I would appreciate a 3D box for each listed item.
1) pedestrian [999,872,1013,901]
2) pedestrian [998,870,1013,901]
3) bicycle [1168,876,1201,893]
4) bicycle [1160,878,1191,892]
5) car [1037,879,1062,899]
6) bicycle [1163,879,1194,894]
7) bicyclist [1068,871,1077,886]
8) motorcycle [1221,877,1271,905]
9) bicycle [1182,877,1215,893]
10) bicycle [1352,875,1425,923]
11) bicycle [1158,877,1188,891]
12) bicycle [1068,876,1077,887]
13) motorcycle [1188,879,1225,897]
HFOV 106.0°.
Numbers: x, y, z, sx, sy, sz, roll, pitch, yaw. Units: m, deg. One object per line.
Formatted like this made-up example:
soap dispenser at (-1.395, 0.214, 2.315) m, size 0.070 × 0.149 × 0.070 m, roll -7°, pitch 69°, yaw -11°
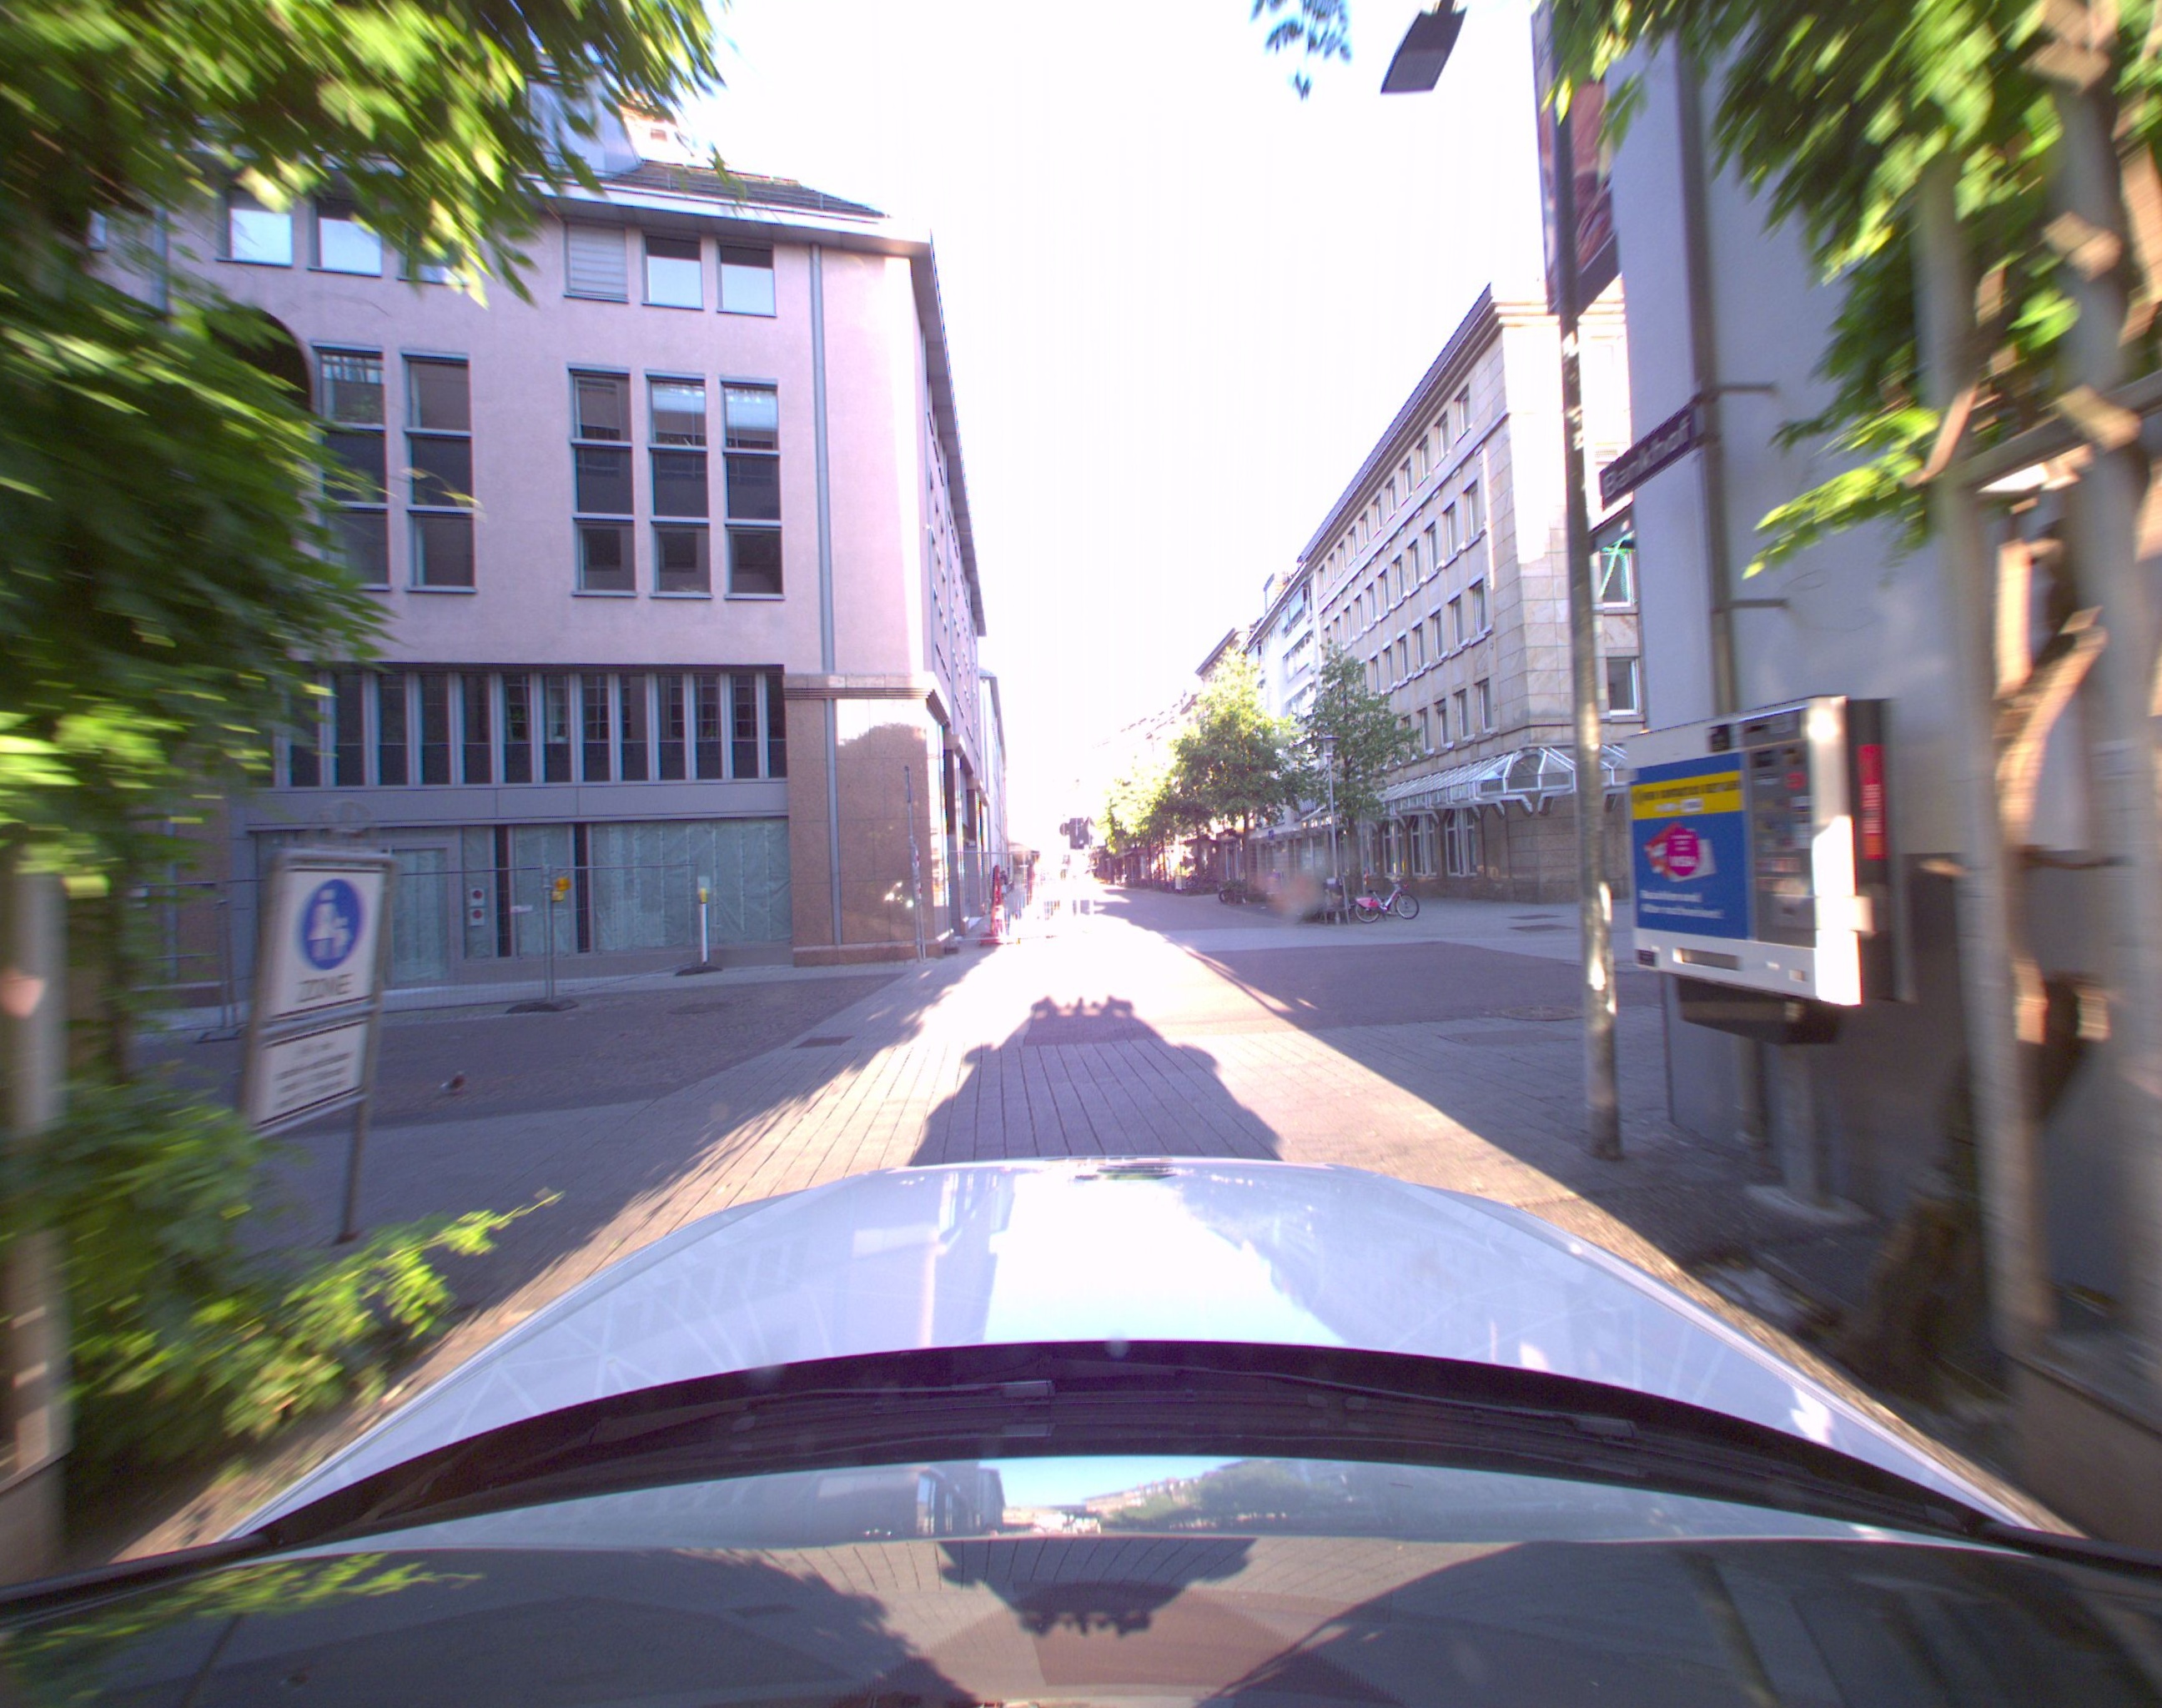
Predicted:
pedestrian at (-4.447, 1.913, 48.313) m, size 0.651 × 1.651 × 0.634 m, roll -3°, pitch -2°, yaw 3°
pedestrian at (-4.406, 1.861, 47.607) m, size 0.651 × 1.764 × 0.634 m, roll -3°, pitch -2°, yaw 3°
bicycle at (7.237, 2.154, 56.865) m, size 2.138 × 1.061 × 0.592 m, roll -4°, pitch -3°, yaw 12°
bicycle at (7.010, 2.327, 60.329) m, size 2.152 × 0.926 × 0.589 m, roll -3°, pitch -3°, yaw -10°
car at (-2.843, 3.143, 73.013) m, size 1.840 × 1.684 × 3.636 m, roll -3°, pitch -2°, yaw -7°
bicycle at (7.096, 2.354, 59.203) m, size 2.152 × 0.926 × 0.589 m, roll -3°, pitch -3°, yaw -10°
bicyclist at (-0.871, 2.542, 84.297) m, size 0.721 × 1.468 × 0.716 m, roll -3°, pitch -2°, yaw -7°
motorcycle at (7.597, 1.703, 37.589) m, size 2.149 × 1.151 × 0.493 m, roll -3°, pitch -3°, yaw -5°
bicycle at (7.949, 2.107, 55.099) m, size 2.158 × 0.926 × 0.587 m, roll -3°, pitch -3°, yaw -17°
bicycle at (7.963, 1.170, 21.161) m, size 1.643 × 1.050 × 0.666 m, roll -6°, pitch -1°, yaw 16°
bicycle at (6.950, 2.280, 61.362) m, size 2.152 × 0.926 × 0.589 m, roll -3°, pitch -3°, yaw -10°
bicycle at (-0.887, 2.884, 84.407) m, size 0.588 × 1.095 × 2.154 m, roll -3°, pitch -2°, yaw -6°
motorcycle at (8.330, 2.257, 53.955) m, size 2.483 × 1.095 × 0.586 m, roll -2°, pitch -3°, yaw -24°
